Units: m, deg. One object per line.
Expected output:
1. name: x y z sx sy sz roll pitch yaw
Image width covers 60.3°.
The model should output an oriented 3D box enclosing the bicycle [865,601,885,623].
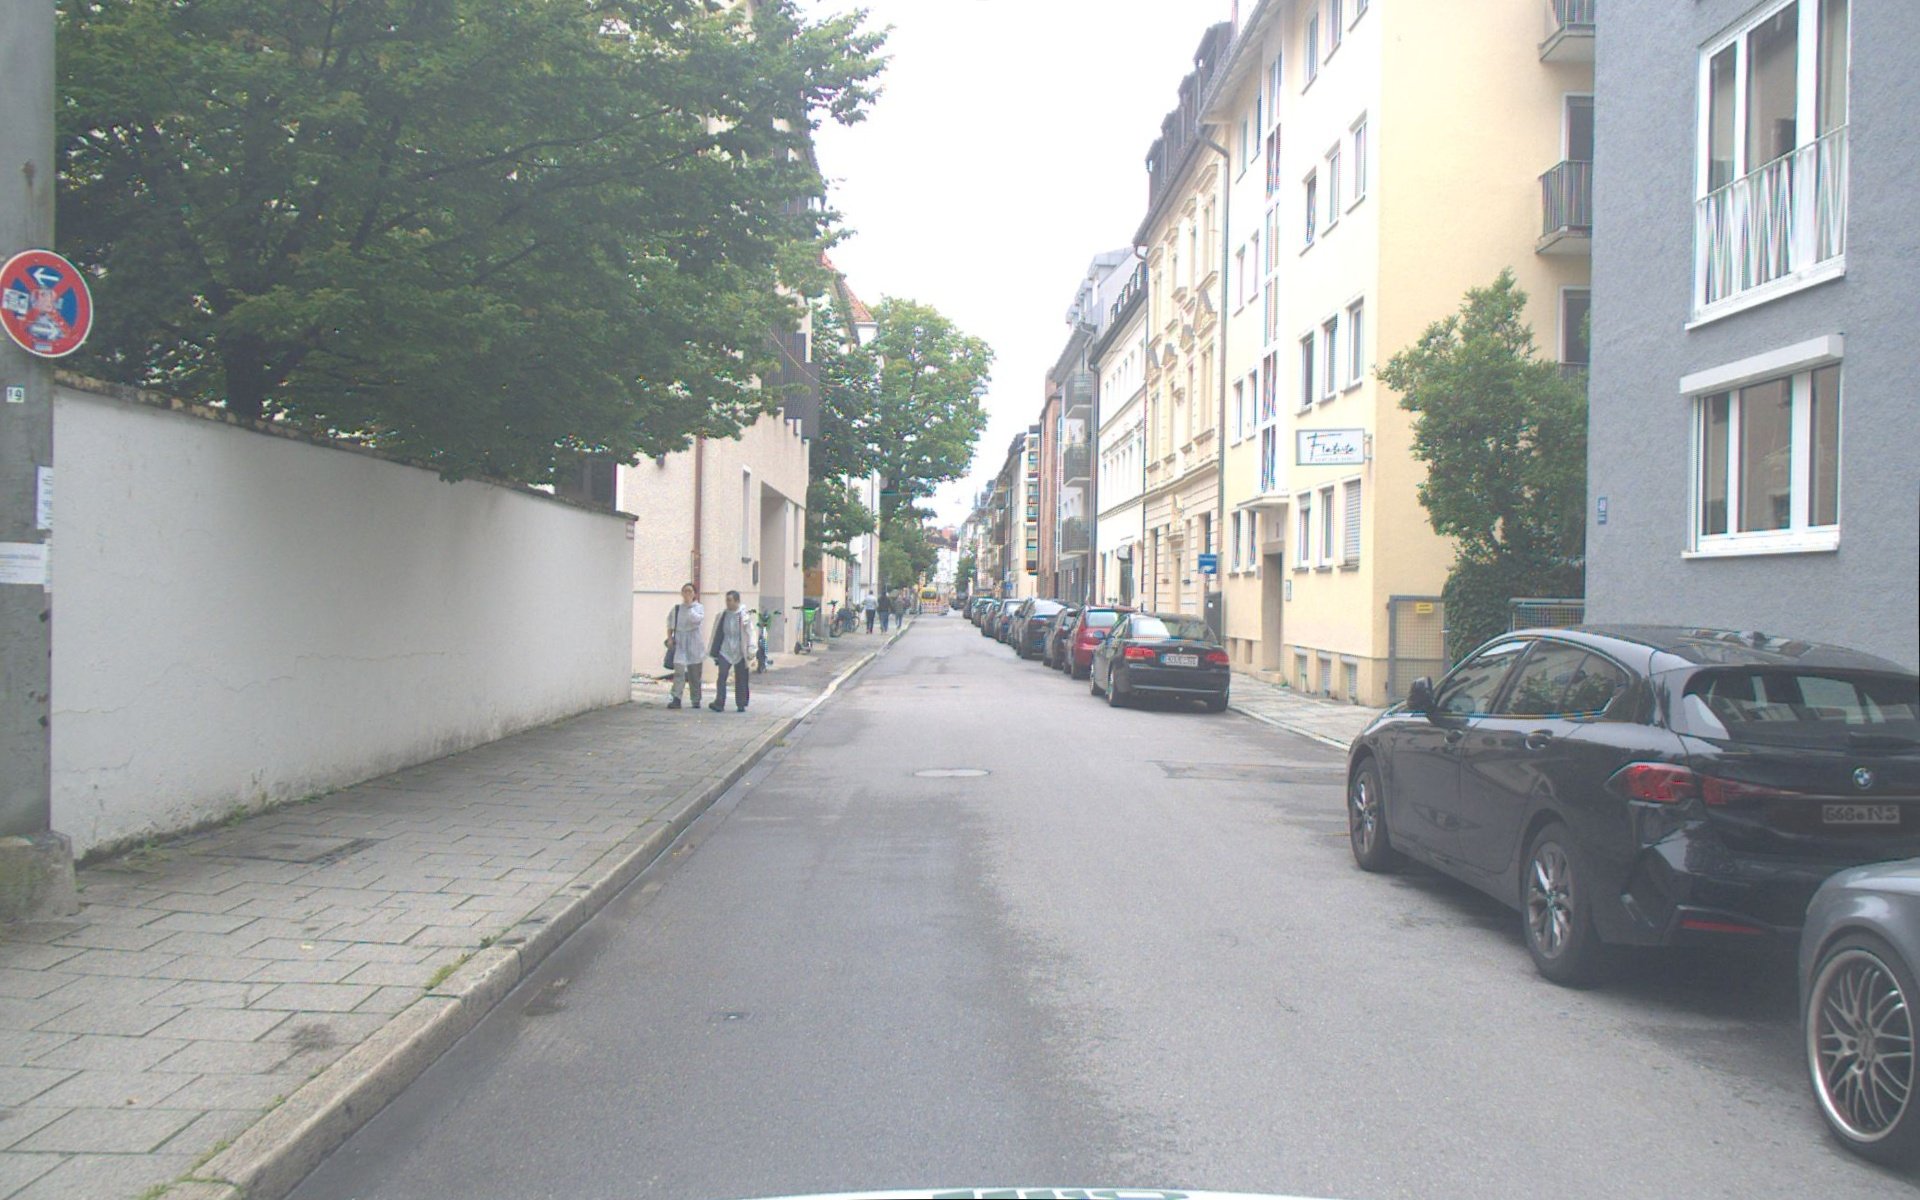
1. bicycle: -4.765 0.686 92.653 0.632 1.239 1.655 0 -1 -19

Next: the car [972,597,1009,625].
1. car: 1.742 0.637 96.468 1.848 1.582 4.389 1 0 -3

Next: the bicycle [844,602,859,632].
1. bicycle: -4.450 0.697 67.979 0.448 1.179 1.605 3 -1 0

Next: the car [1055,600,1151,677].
1. car: 2.995 0.783 35.362 1.642 1.518 3.852 1 0 -1

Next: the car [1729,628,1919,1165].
1. car: 3.504 0.878 3.329 1.753 1.425 4.485 4 0 0

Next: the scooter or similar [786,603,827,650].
1. scooter or similar: -3.960 0.695 42.713 0.540 1.164 1.359 3 0 16

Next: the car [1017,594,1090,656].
1. car: 2.573 0.655 46.469 1.667 1.635 4.684 1 0 -1

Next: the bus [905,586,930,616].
1. bus: -4.572 0.115 178.796 2.540 3.156 6.305 0 0 -1

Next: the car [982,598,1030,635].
1. car: 1.943 0.690 71.676 1.802 1.555 4.291 1 0 -2

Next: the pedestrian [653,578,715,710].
1. pedestrian: -3.572 0.561 21.460 0.601 1.649 0.687 3 -1 -1

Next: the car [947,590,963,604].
1. car: -0.693 -0.382 210.864 1.765 1.741 3.825 4 0 -3

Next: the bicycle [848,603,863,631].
1. bicycle: -4.398 0.709 69.695 0.551 1.180 1.718 1 -1 -7

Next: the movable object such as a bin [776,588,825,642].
1. movable object such as a bin: -4.838 0.446 50.180 1.150 1.466 1.249 6 1 5

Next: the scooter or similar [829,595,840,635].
1. scooter or similar: -4.390 0.536 58.106 0.311 1.400 1.239 0 -1 -1

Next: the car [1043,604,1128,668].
1. car: 2.967 0.829 39.807 1.642 1.417 4.064 1 0 -1

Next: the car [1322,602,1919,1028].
1. car: 3.296 0.819 8.188 1.804 1.453 4.261 4 0 -3

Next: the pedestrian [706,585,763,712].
1. pedestrian: -2.925 0.623 21.483 0.610 1.606 0.714 2 -1 -1

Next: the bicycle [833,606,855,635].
1. bicycle: -4.191 0.737 59.841 0.690 1.001 1.821 5 -1 -5

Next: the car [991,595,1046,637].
1. car: 2.326 0.631 66.798 1.838 1.598 4.314 -1 0 -3

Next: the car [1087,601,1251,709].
1. car: 3.114 0.777 25.527 1.789 1.358 4.507 4 0 -1

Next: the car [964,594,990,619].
1. car: 1.337 0.536 133.016 1.765 1.851 3.998 4 0 -3

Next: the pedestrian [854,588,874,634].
1. pedestrian: -3.891 0.452 67.294 0.704 1.828 0.916 2 -1 -1

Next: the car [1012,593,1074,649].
1. car: 2.585 0.629 52.203 1.642 1.690 4.511 1 0 -1

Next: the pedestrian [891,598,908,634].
1. pedestrian: -2.945 0.782 80.765 0.737 1.688 0.906 3 -1 -1

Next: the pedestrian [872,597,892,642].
1. pedestrian: -3.170 0.790 67.401 0.704 1.796 0.838 2 -1 -1

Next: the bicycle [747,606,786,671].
1. bicycle: -3.628 0.710 31.142 0.527 1.159 1.916 2 0 -2

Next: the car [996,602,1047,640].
1. car: 2.270 0.758 61.877 1.771 1.387 3.945 0 0 0

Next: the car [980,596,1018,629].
1. car: 1.936 0.599 83.622 1.739 1.583 3.999 1 0 -1

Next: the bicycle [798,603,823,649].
1. bicycle: -4.036 0.695 44.777 0.533 1.181 1.881 2 0 -2
